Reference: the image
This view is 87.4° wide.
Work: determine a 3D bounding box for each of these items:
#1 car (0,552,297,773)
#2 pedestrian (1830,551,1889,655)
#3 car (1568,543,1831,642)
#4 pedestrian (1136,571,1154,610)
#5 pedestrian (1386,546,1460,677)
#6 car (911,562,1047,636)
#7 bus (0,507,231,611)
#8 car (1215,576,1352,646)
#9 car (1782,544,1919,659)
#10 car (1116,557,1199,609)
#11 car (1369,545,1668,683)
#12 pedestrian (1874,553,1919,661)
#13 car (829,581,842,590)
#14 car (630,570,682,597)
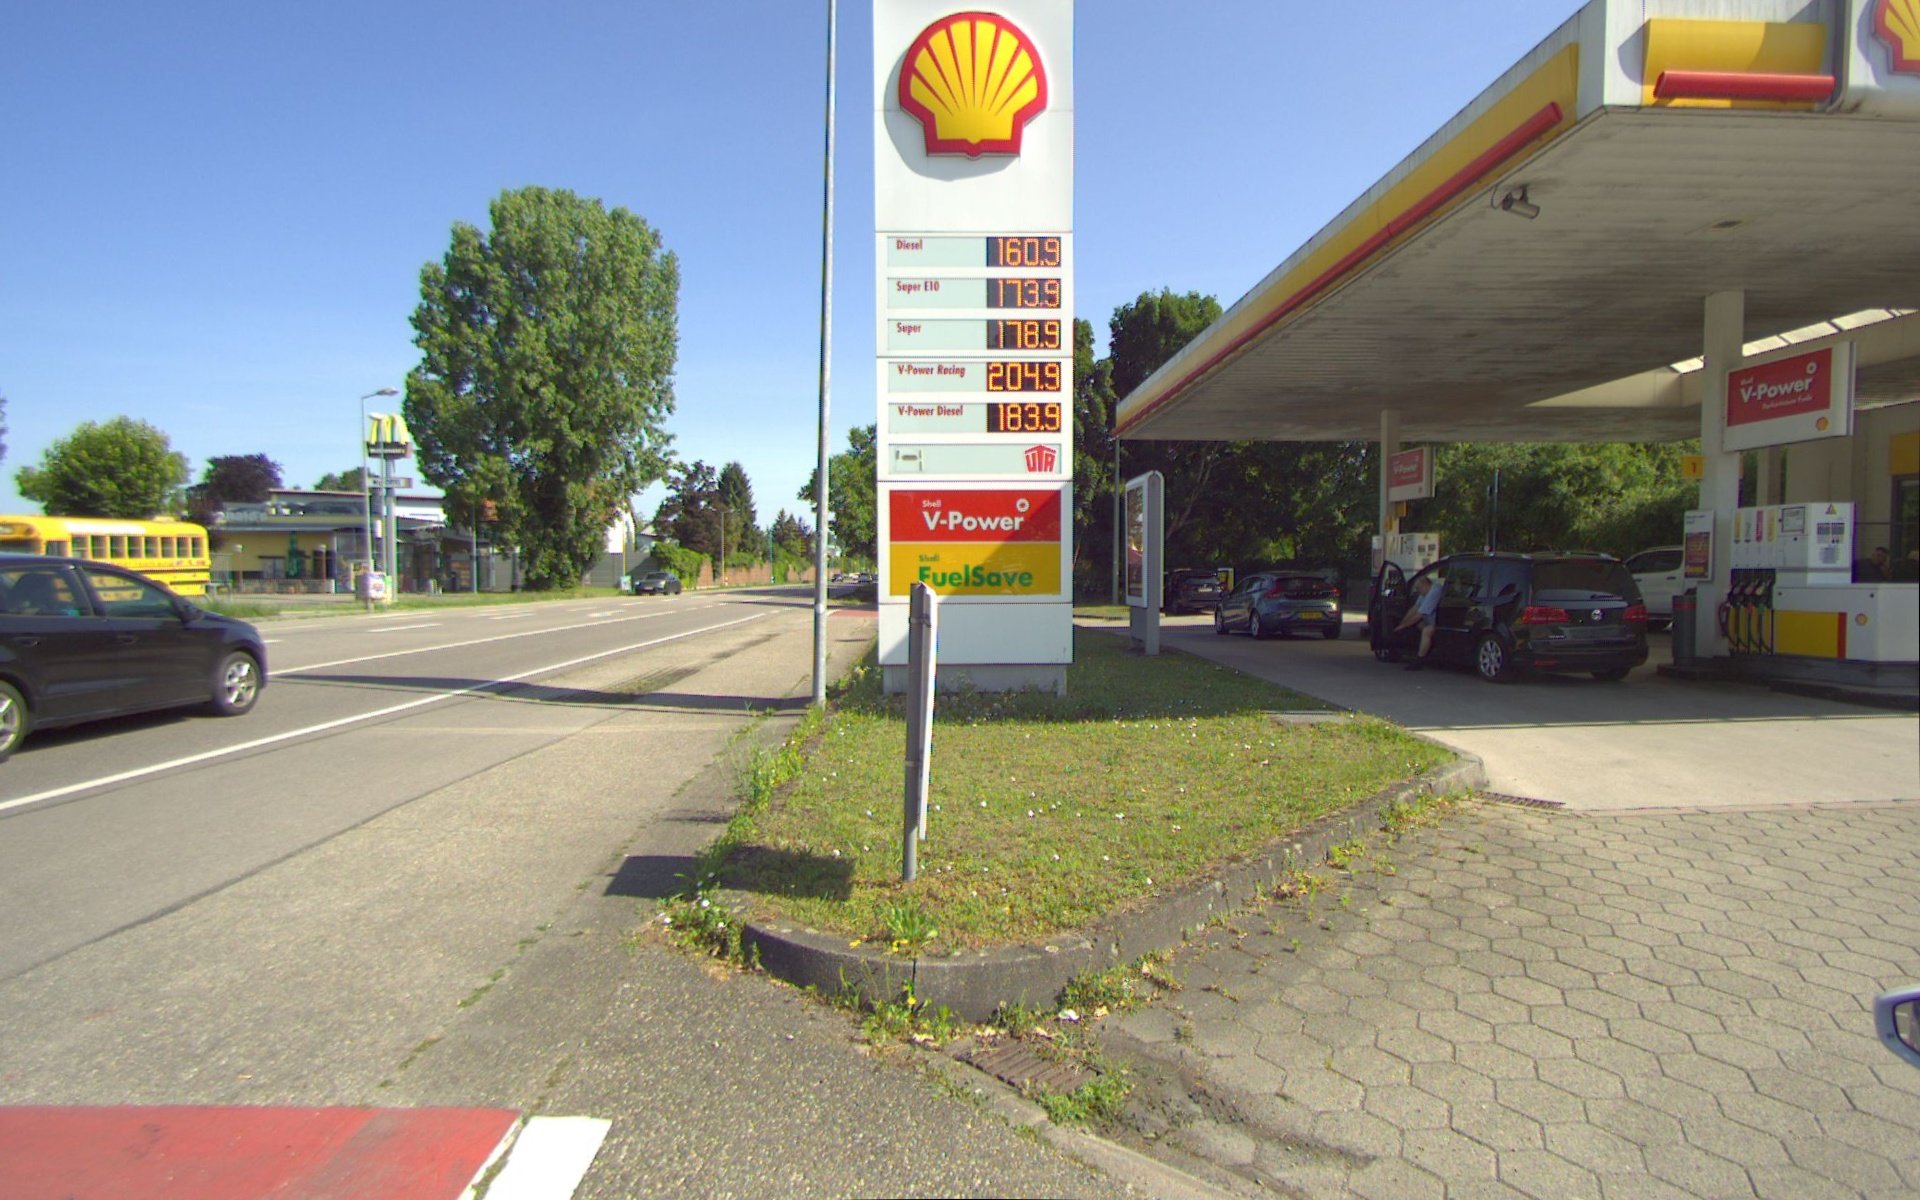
[{"bbox_3d":[-7.231,0.372,7.756,1.619,1.450,4.053,2,1,-2],"label":"car"},{"bbox_3d":[14.435,0.044,16.132,0.491,1.653,0.475,0,1,1],"label":"pedestrian"},{"bbox_3d":[15.362,-0.193,21.270,1.822,1.862,4.777,0,1,-4],"label":"car"},{"bbox_3d":[7.439,-0.374,40.347,0.664,1.558,0.393,0,1,2],"label":"pedestrian"},{"bbox_3d":[6.393,0.147,13.915,0.661,1.752,0.812,0,1,2],"label":"pedestrian"},{"bbox_3d":[0.410,-0.027,22.568,2.691,1.550,1.569,1,0,42],"label":"car"},{"bbox_3d":[-26.570,-1.164,30.687,2.538,2.715,8.990,1,1,-4],"label":"bus"},{"bbox_3d":[6.898,0.180,21.824,1.768,1.379,3.847,0,1,0],"label":"car"},{"bbox_3d":[15.477,0.014,15.854,1.797,1.751,4.000,0,1,1],"label":"car"},{"bbox_3d":[7.309,-0.623,37.552,1.962,1.789,3.996,1,1,-5],"label":"car"},{"bbox_3d":[7.321,0.119,13.679,1.731,1.600,3.875,0,1,-4],"label":"car"},{"bbox_3d":[14.370,0.103,15.267,0.491,1.615,0.475,0,1,1],"label":"pedestrian"},{"bbox_3d":[-21.307,-2.524,172.524,1.817,1.561,4.223,2,1,-2],"label":"car"},{"bbox_3d":[-18.646,-0.997,61.740,1.817,1.516,4.909,-2,1,-2],"label":"car"}]
